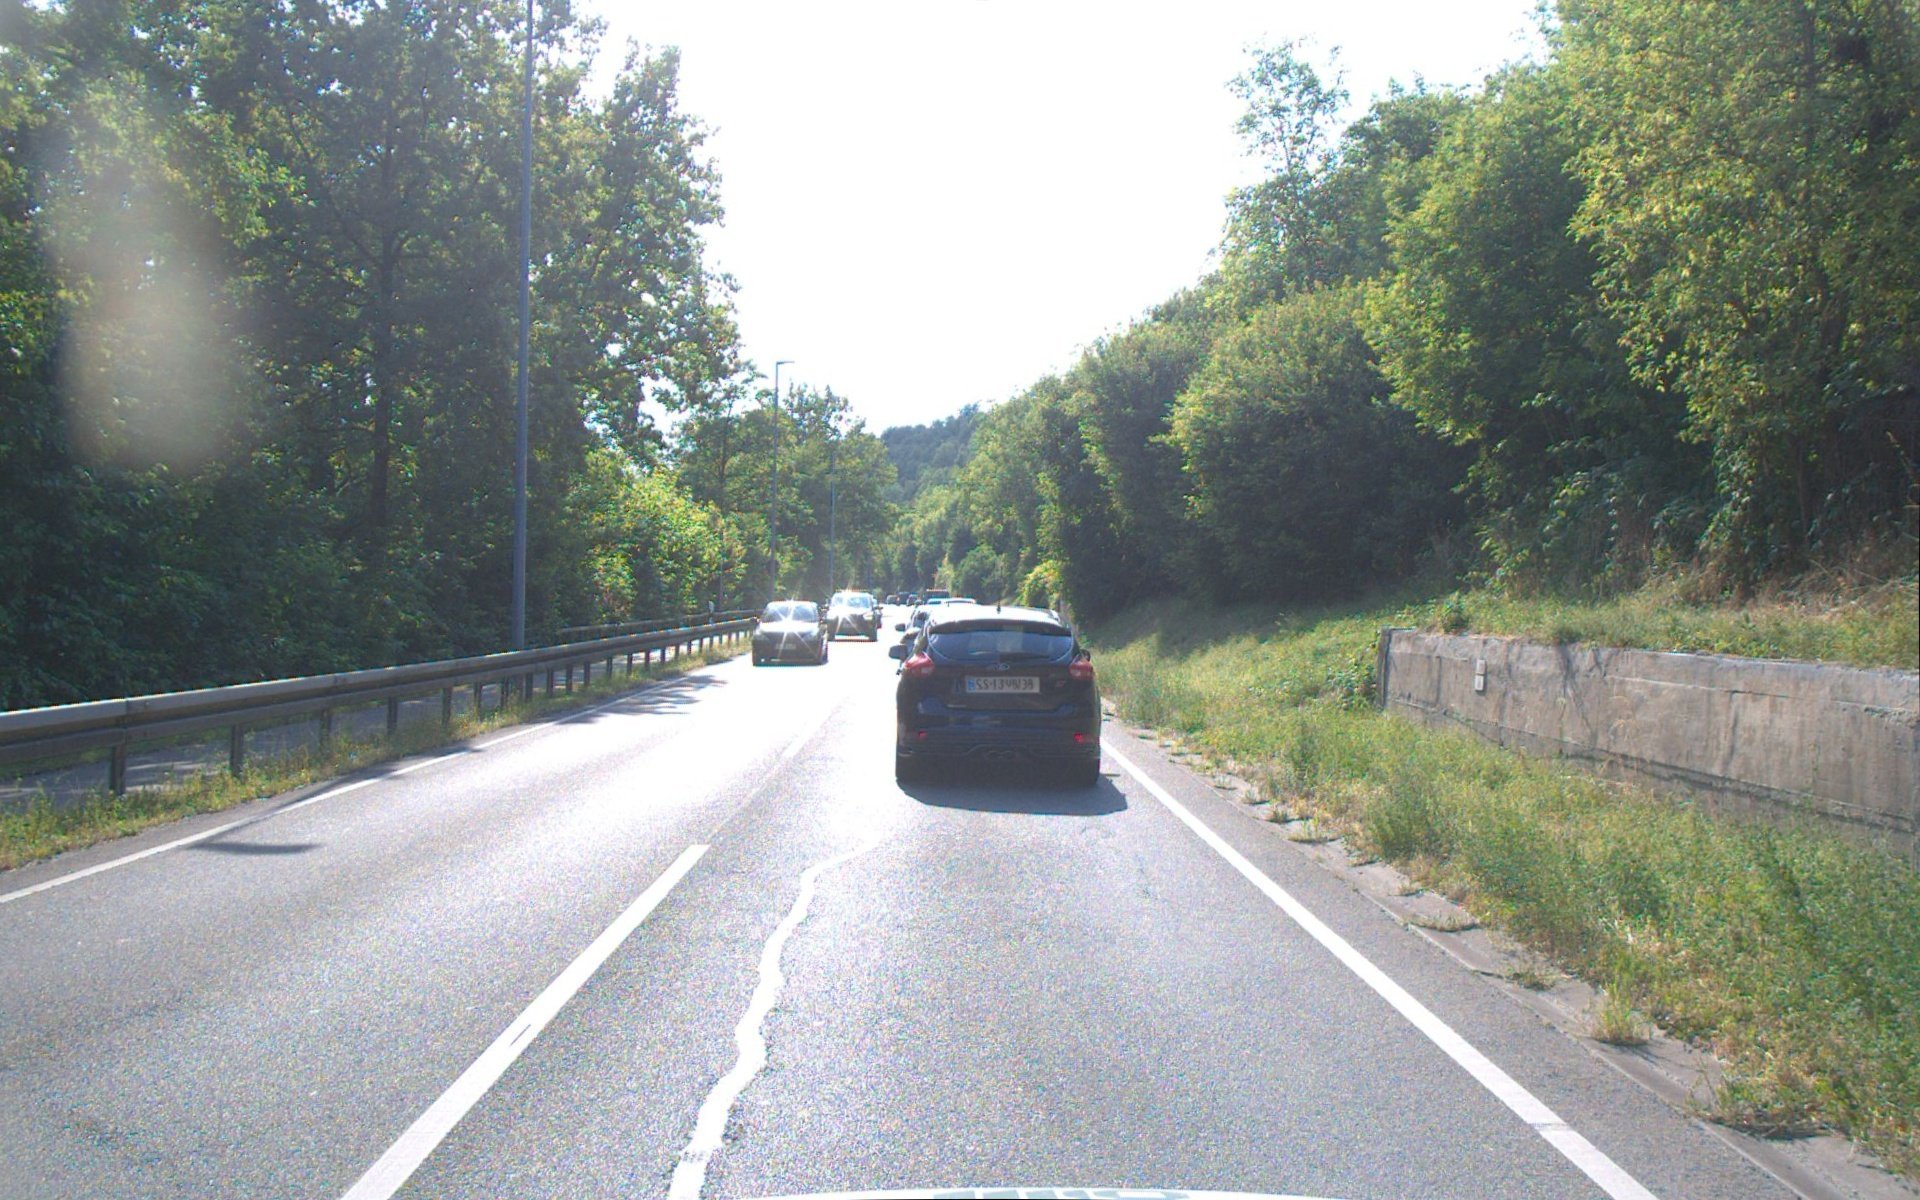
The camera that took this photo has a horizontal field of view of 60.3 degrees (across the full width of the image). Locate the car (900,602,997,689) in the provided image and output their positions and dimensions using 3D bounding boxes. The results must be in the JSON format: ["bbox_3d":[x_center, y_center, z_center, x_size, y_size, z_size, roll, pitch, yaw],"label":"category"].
[{"bbox_3d":[-0.172,0.762,29.590,1.627,1.443,4.000,0,0,1],"label":"car"}]

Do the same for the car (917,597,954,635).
[{"bbox_3d":[-1.070,0.663,72.955,1.597,1.624,3.999,0,0,-1],"label":"car"}]

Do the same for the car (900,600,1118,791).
[{"bbox_3d":[0.368,0.767,15.189,1.704,1.482,3.999,1,0,-1],"label":"car"}]

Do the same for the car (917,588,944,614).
[{"bbox_3d":[-2.120,0.059,118.577,1.825,1.812,3.998,0,0,-2],"label":"car"}]

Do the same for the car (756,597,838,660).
[{"bbox_3d":[-3.974,0.654,40.785,1.647,1.467,3.999,0,0,-1],"label":"car"}]

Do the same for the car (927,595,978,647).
[{"bbox_3d":[-0.253,0.639,53.517,1.597,1.624,3.999,0,0,-1],"label":"car"}]

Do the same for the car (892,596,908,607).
[{"bbox_3d":[-8.905,0.211,245.482,1.956,1.545,3.993,0,0,-8],"label":"car"}]

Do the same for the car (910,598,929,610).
[{"bbox_3d":[-5.169,0.459,211.707,1.956,1.545,3.993,0,0,-8],"label":"car"}]

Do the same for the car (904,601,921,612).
[{"bbox_3d":[-6.714,0.945,232.585,1.956,1.545,3.993,0,0,-8],"label":"car"}]

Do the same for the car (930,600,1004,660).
[{"bbox_3d":[0.136,0.704,41.329,1.768,1.416,3.999,0,0,-1],"label":"car"}]

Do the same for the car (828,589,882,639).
[{"bbox_3d":[-3.792,0.496,60.336,1.712,1.747,4.220,0,0,-1],"label":"car"}]
